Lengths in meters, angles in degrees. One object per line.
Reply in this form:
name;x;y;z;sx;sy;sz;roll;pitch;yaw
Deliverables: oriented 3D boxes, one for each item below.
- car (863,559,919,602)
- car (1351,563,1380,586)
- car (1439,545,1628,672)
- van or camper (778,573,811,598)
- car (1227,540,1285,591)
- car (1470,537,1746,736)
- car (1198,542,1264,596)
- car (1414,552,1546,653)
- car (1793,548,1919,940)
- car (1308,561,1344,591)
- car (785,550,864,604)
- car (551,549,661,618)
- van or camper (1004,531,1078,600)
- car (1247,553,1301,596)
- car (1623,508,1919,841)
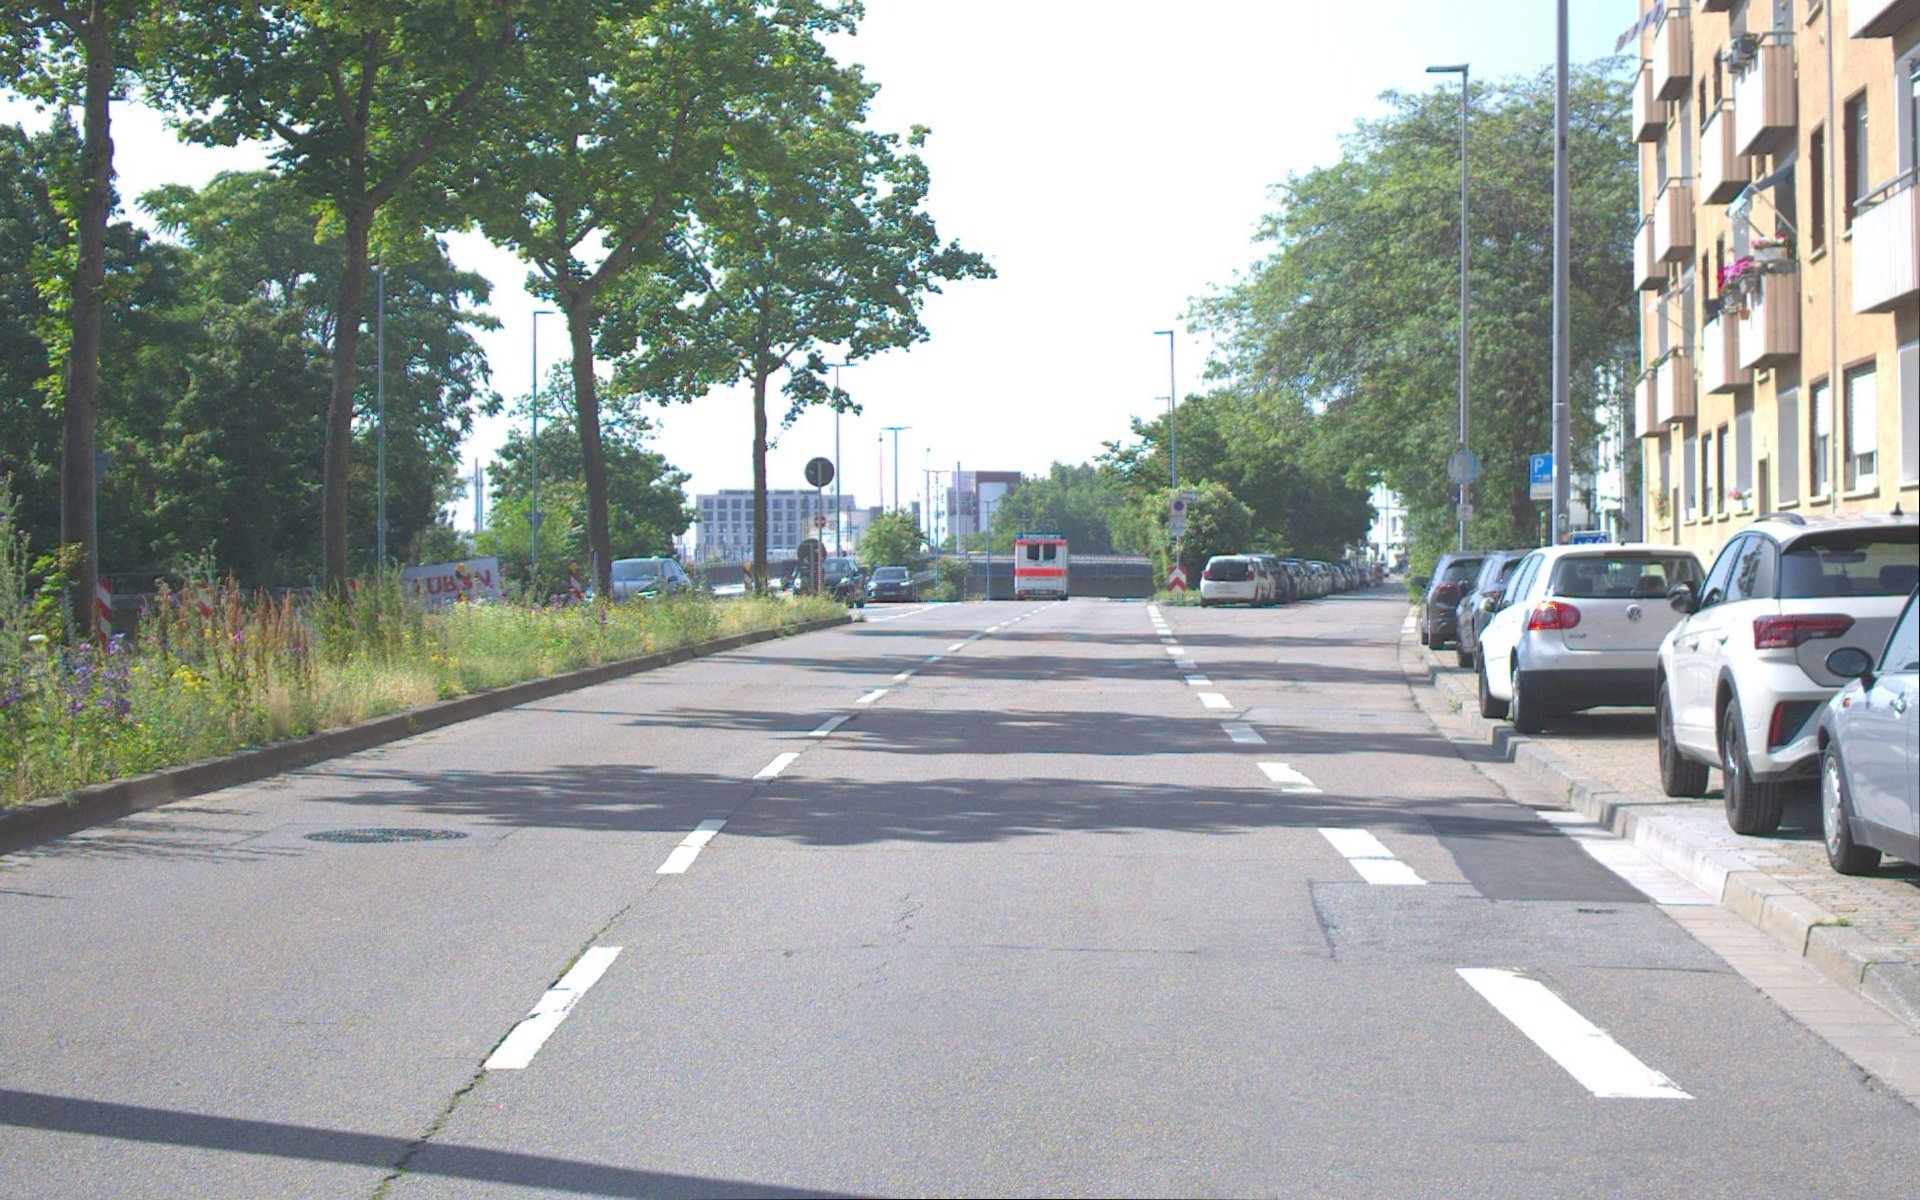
car;-2.854;-0.827;143.312;1.994;1.728;4.729;0;1;3
car;28.978;-1.842;245.614;1.994;1.651;3.999;0;0;7
car;6.928;0.067;41.886;1.800;1.433;4.589;-1;1;4
van or camper;-9.179;-0.829;190.985;1.467;1.345;4.630;0;1;2
car;9.440;-1.111;109.368;1.772;1.574;4.185;-1;1;5
car;5.257;0.242;28.351;1.756;1.500;4.127;-1;1;4
car;7.851;-0.910;99.400;1.620;1.500;3.460;-1;1;8
car;7.884;0.010;52.402;1.711;1.457;4.255;0;1;5
car;4.386;0.492;13.357;1.678;1.404;3.430;-2;1;5
car;19.511;-1.305;183.262;1.664;1.504;4.007;2;1;8
car;-3.865;-0.679;98.472;1.763;1.469;4.084;-1;1;4
car;-7.966;-0.392;77.611;1.798;1.525;3.999;0;1;4
van or camper;3.340;-1.402;140.675;2.297;2.780;5.569;0;0;9
car;11.426;-0.925;124.918;1.664;1.468;3.788;2;1;8
car;4.641;0.313;18.083;1.736;1.536;4.353;-1;1;4
